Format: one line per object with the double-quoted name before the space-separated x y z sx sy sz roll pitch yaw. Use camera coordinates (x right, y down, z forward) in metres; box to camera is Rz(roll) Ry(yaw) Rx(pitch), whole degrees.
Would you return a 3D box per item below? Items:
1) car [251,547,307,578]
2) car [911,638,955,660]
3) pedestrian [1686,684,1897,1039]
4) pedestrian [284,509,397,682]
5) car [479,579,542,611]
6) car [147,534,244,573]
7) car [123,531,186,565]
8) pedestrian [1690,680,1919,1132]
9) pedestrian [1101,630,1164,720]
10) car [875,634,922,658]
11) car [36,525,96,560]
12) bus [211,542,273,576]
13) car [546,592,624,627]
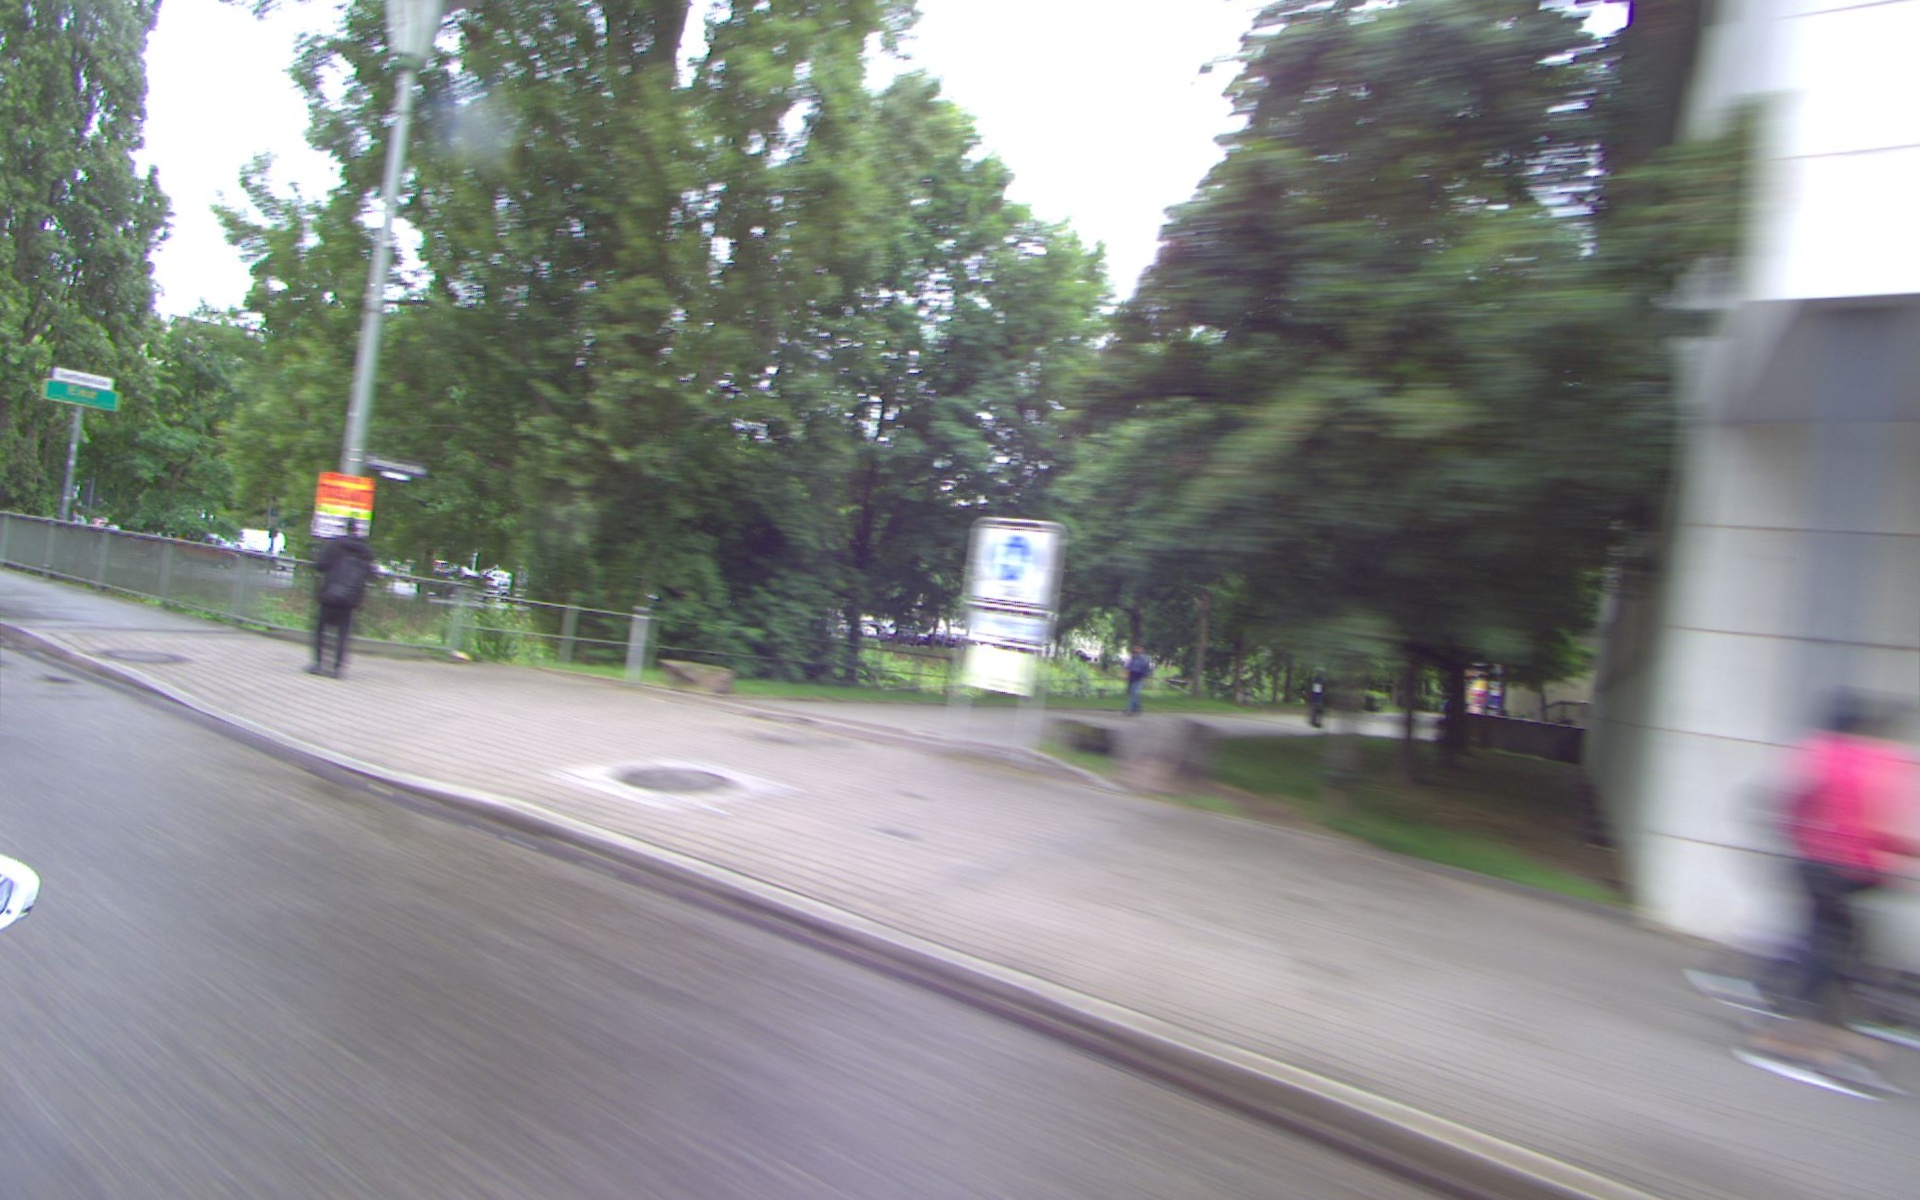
"car" -47.472 -2.601 70.084 3.938 1.669 1.822 5 -3 35
"car" -2.534 4.654 95.465 1.969 1.563 3.992 6 -4 36
"pedestrian" 4.268 1.279 5.222 0.596 1.609 0.726 7 0 32
"pedestrian" -6.381 -0.033 10.367 0.553 1.685 0.640 8 1 31
"car" -30.170 -0.311 67.495 3.837 1.605 1.805 6 -2 30
"car" -45.706 -2.762 60.216 1.775 1.639 4.132 6 -2 28
"car" -50.886 -3.309 63.536 3.537 1.669 1.600 6 -3 27
"pedestrian" 3.696 1.209 4.267 0.757 1.640 0.718 7 0 32
"pedestrian" 4.229 1.837 24.622 1.005 2.034 1.117 4 -6 32
"car" -5.444 4.108 89.987 1.969 1.563 3.992 6 -4 36
"car" -63.957 -4.141 71.995 3.664 2.033 1.910 4 -6 30
"bus" -48.045 -2.732 67.306 3.937 1.742 1.997 6 -3 35
"car" -23.062 0.595 61.921 1.862 1.563 3.992 6 -4 36
